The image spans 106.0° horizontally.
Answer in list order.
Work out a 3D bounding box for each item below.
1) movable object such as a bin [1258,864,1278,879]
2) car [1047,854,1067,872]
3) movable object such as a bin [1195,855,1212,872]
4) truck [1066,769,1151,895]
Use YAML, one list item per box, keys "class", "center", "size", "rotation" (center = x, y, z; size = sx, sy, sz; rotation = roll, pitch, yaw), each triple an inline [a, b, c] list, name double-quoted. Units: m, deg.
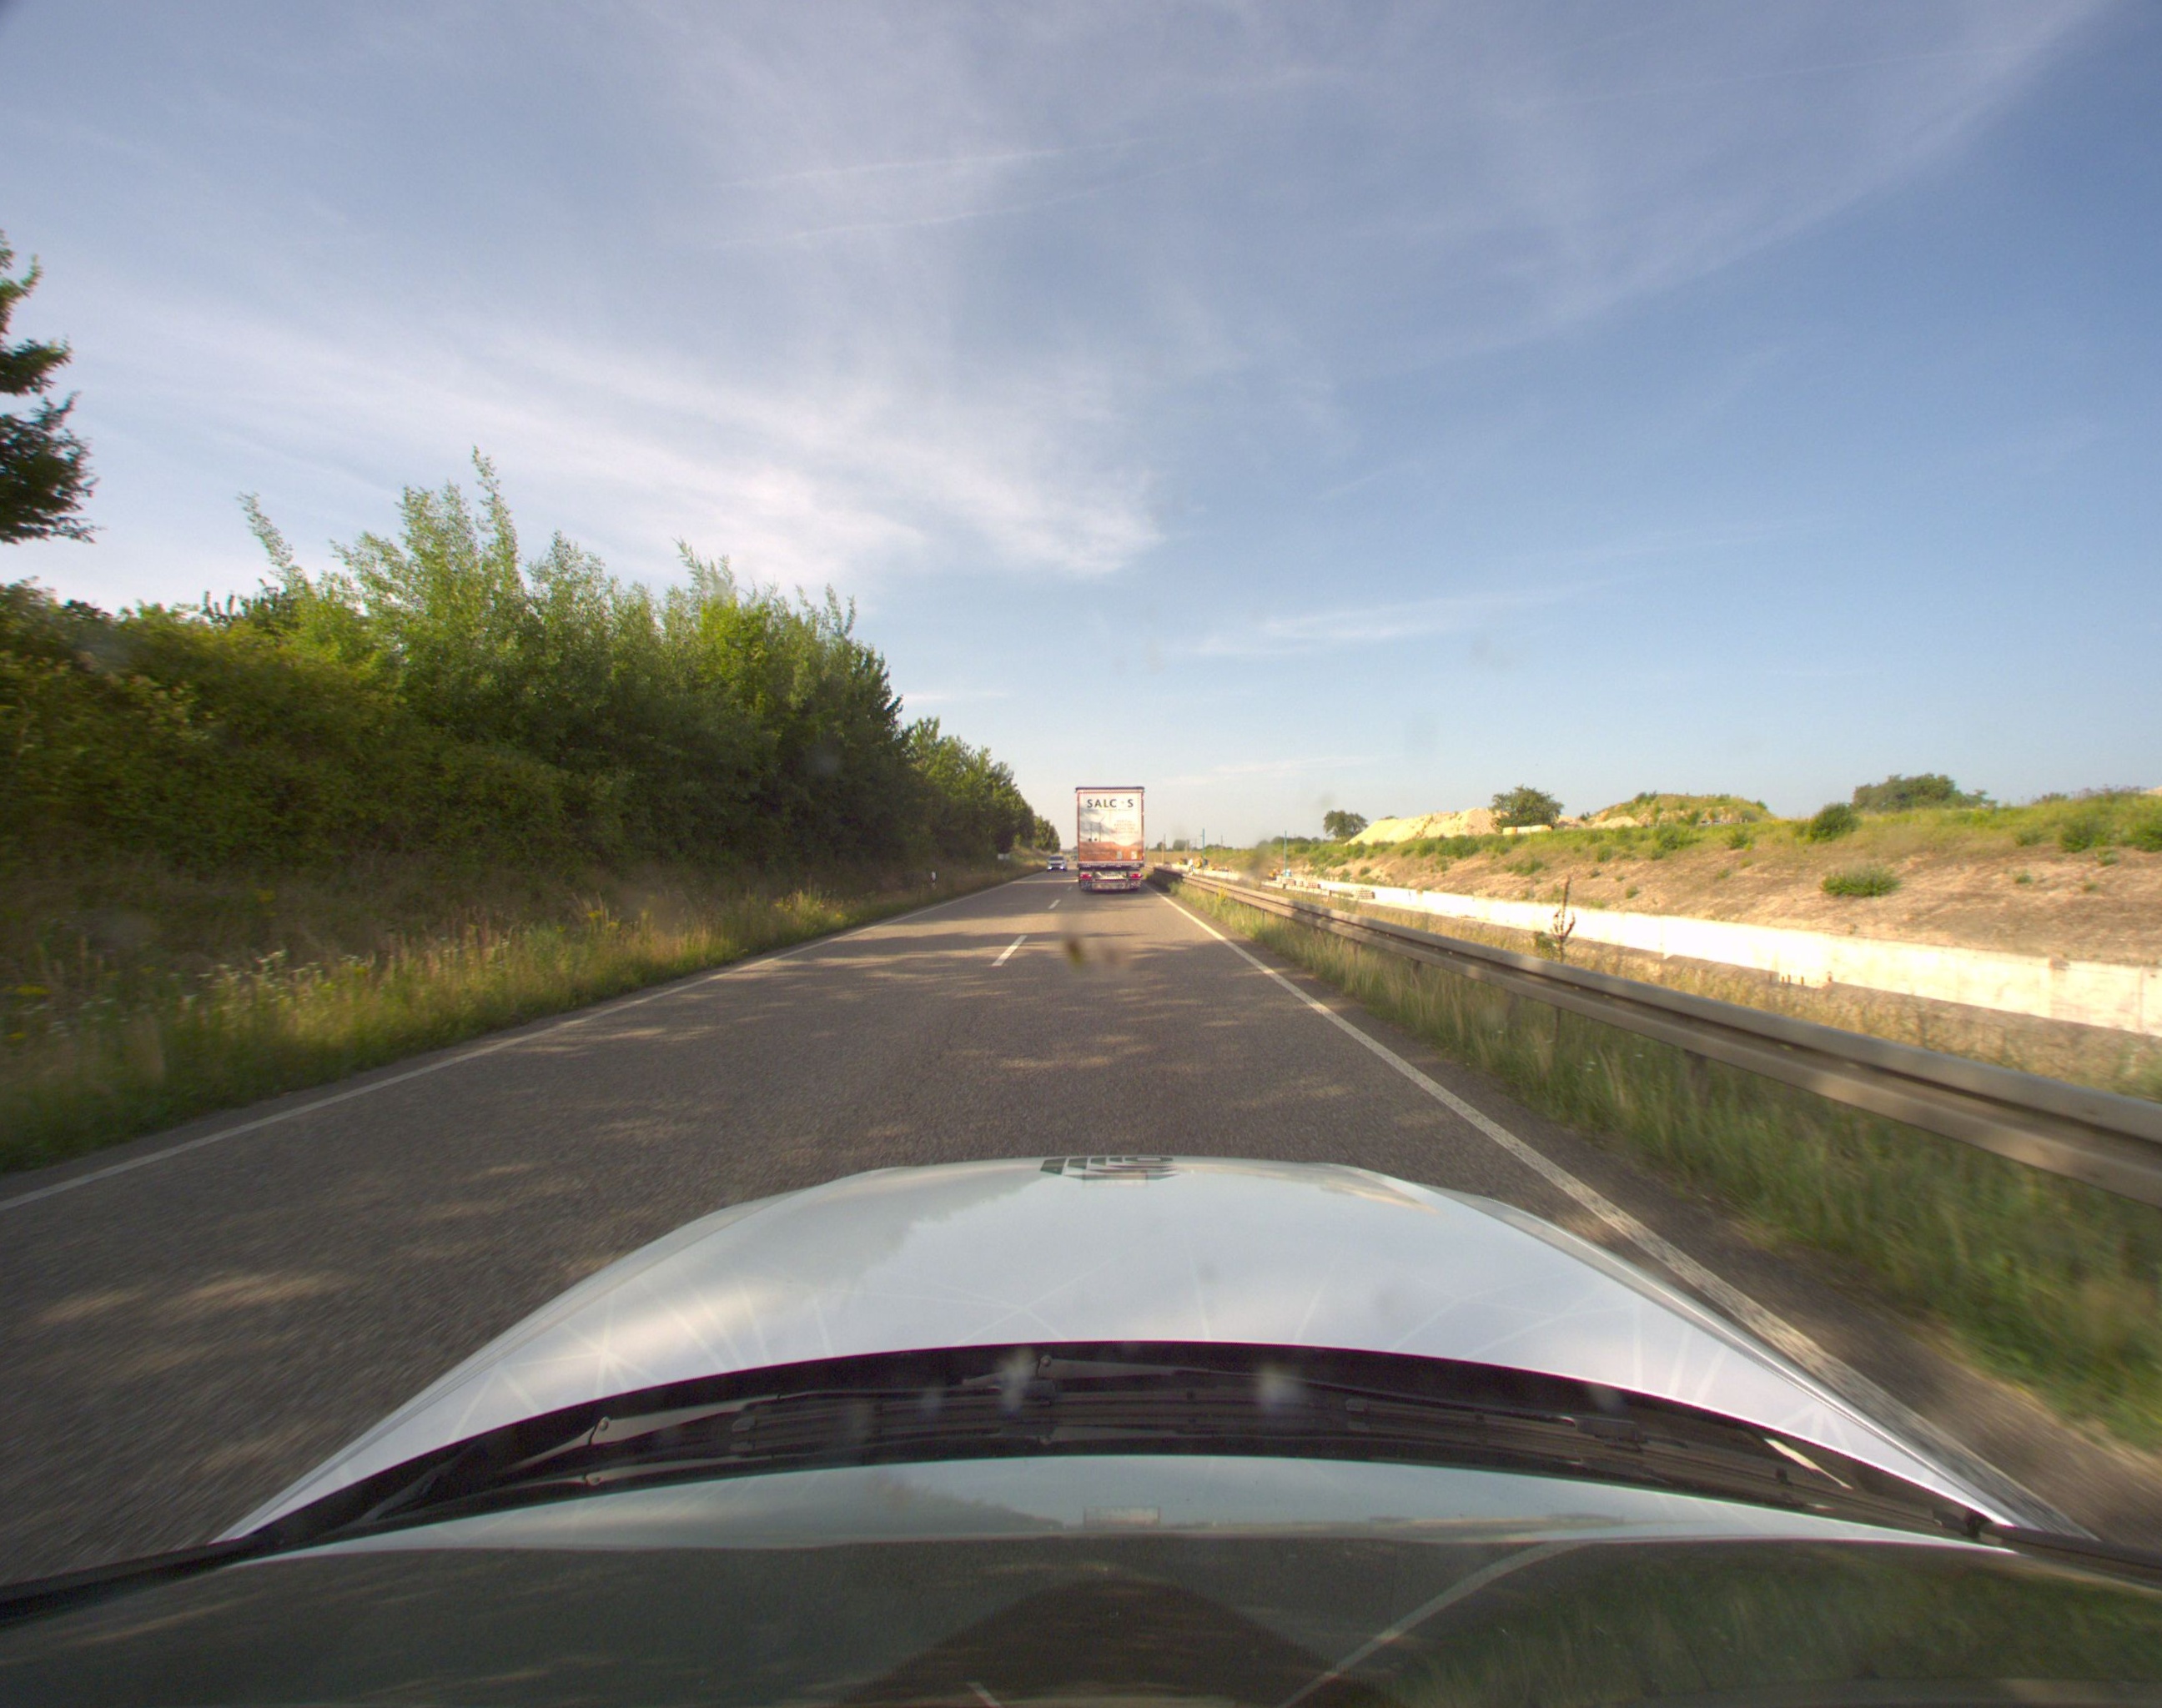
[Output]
- class: "movable object such as a bin"
  center: [32.678, 3.079, 142.372]
  size: [2.877, 2.661, 2.031]
  rotation: [0, 0, 25]
- class: "car"
  center: [-2.194, 0.795, 75.169]
  size: [1.739, 1.564, 4.364]
  rotation: [0, 0, 0]
- class: "movable object such as a bin"
  center: [28.575, 2.073, 189.596]
  size: [2.788, 3.886, 7.536]
  rotation: [0, 0, 0]
- class: "truck"
  center: [1.108, -0.829, 34.845]
  size: [3.142, 4.688, 8.442]
  rotation: [-1, 0, 1]
